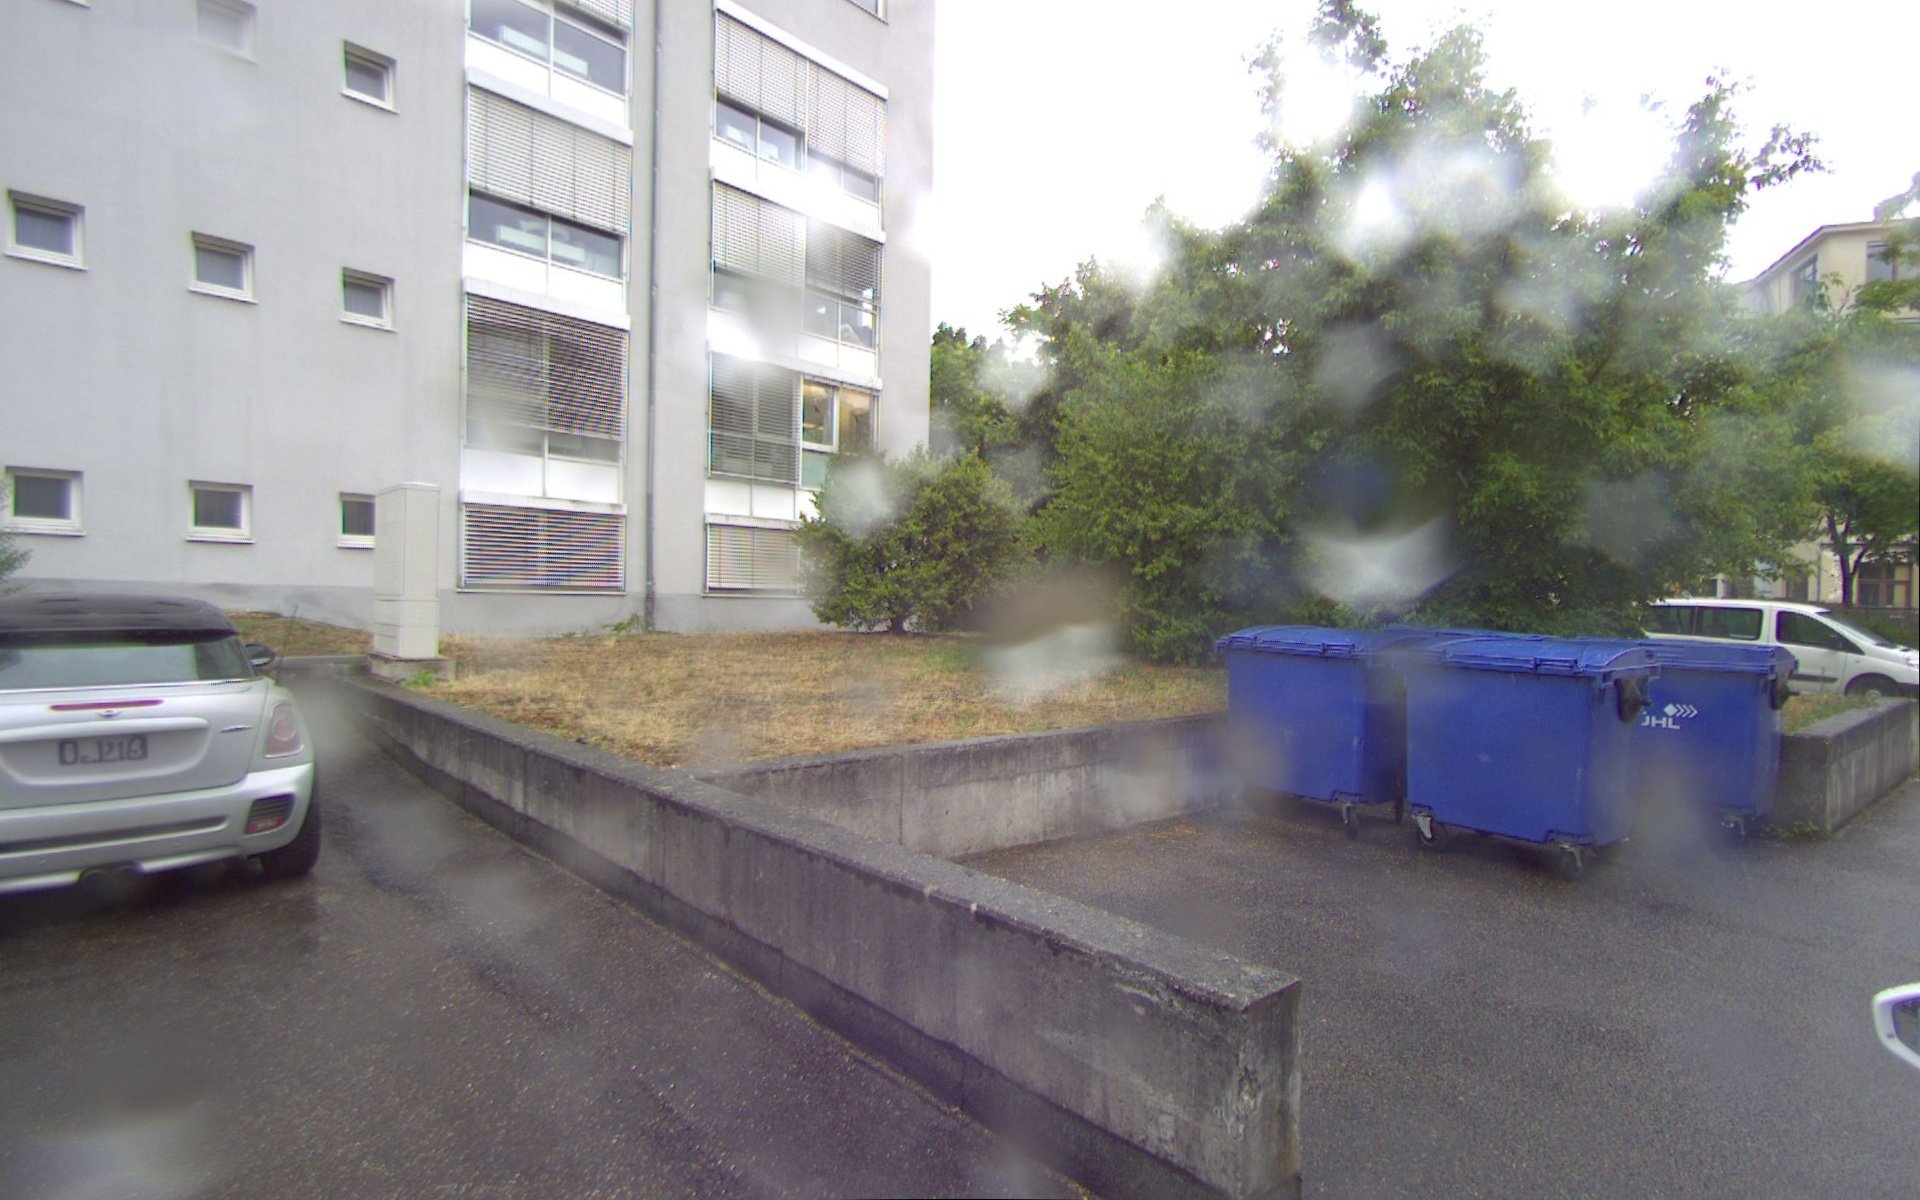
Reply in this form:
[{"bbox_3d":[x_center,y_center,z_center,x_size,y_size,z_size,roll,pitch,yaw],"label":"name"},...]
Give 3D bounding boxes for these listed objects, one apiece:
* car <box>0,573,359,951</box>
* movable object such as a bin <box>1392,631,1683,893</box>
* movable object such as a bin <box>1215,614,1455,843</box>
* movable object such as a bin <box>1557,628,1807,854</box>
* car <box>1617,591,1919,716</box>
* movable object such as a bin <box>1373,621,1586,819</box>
[{"bbox_3d":[-4.988,0.604,5.679,1.810,1.351,4.123,0,3,-45],"label":"car"},{"bbox_3d":[3.523,0.889,6.165,1.106,1.355,1.194,1,0,-37],"label":"movable object such as a bin"},{"bbox_3d":[2.655,0.824,7.147,1.108,1.355,1.192,-1,3,-41],"label":"movable object such as a bin"},{"bbox_3d":[5.044,0.900,7.038,0.998,1.355,1.211,0,1,-41],"label":"movable object such as a bin"},{"bbox_3d":[15.231,0.888,18.653,1.984,2.040,4.740,0,0,-40],"label":"car"},{"bbox_3d":[4.103,0.874,7.959,0.998,1.355,1.211,-1,1,-41],"label":"movable object such as a bin"}]
